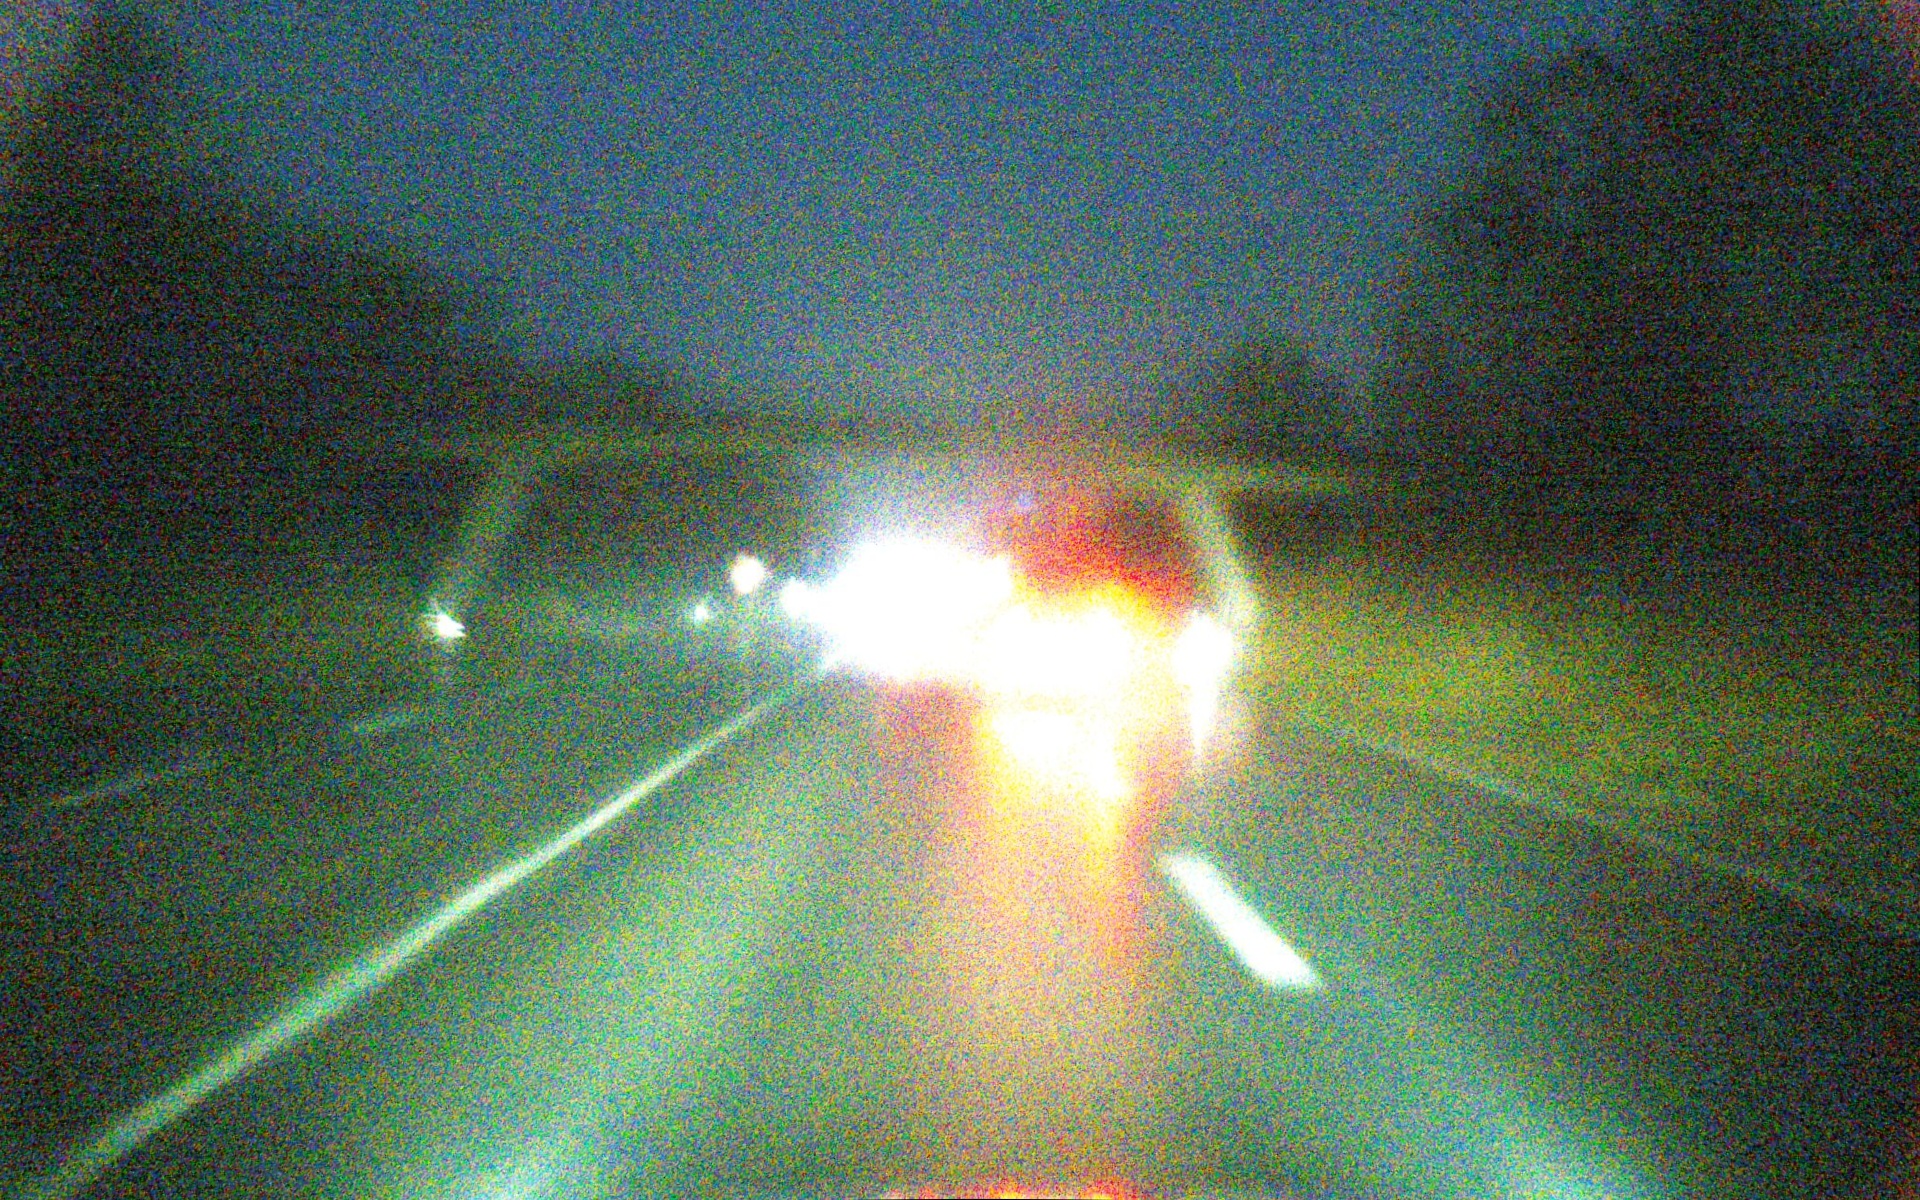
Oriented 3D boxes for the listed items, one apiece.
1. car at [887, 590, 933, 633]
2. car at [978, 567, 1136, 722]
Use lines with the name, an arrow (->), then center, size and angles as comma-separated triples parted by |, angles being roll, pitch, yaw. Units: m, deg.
car -> -1.982, 0.443, 65.522 | 1.772, 1.650, 3.999 | 0, 0, -2
car -> 1.321, 0.594, 24.219 | 2.050, 2.049, 4.000 | 1, 0, 0
